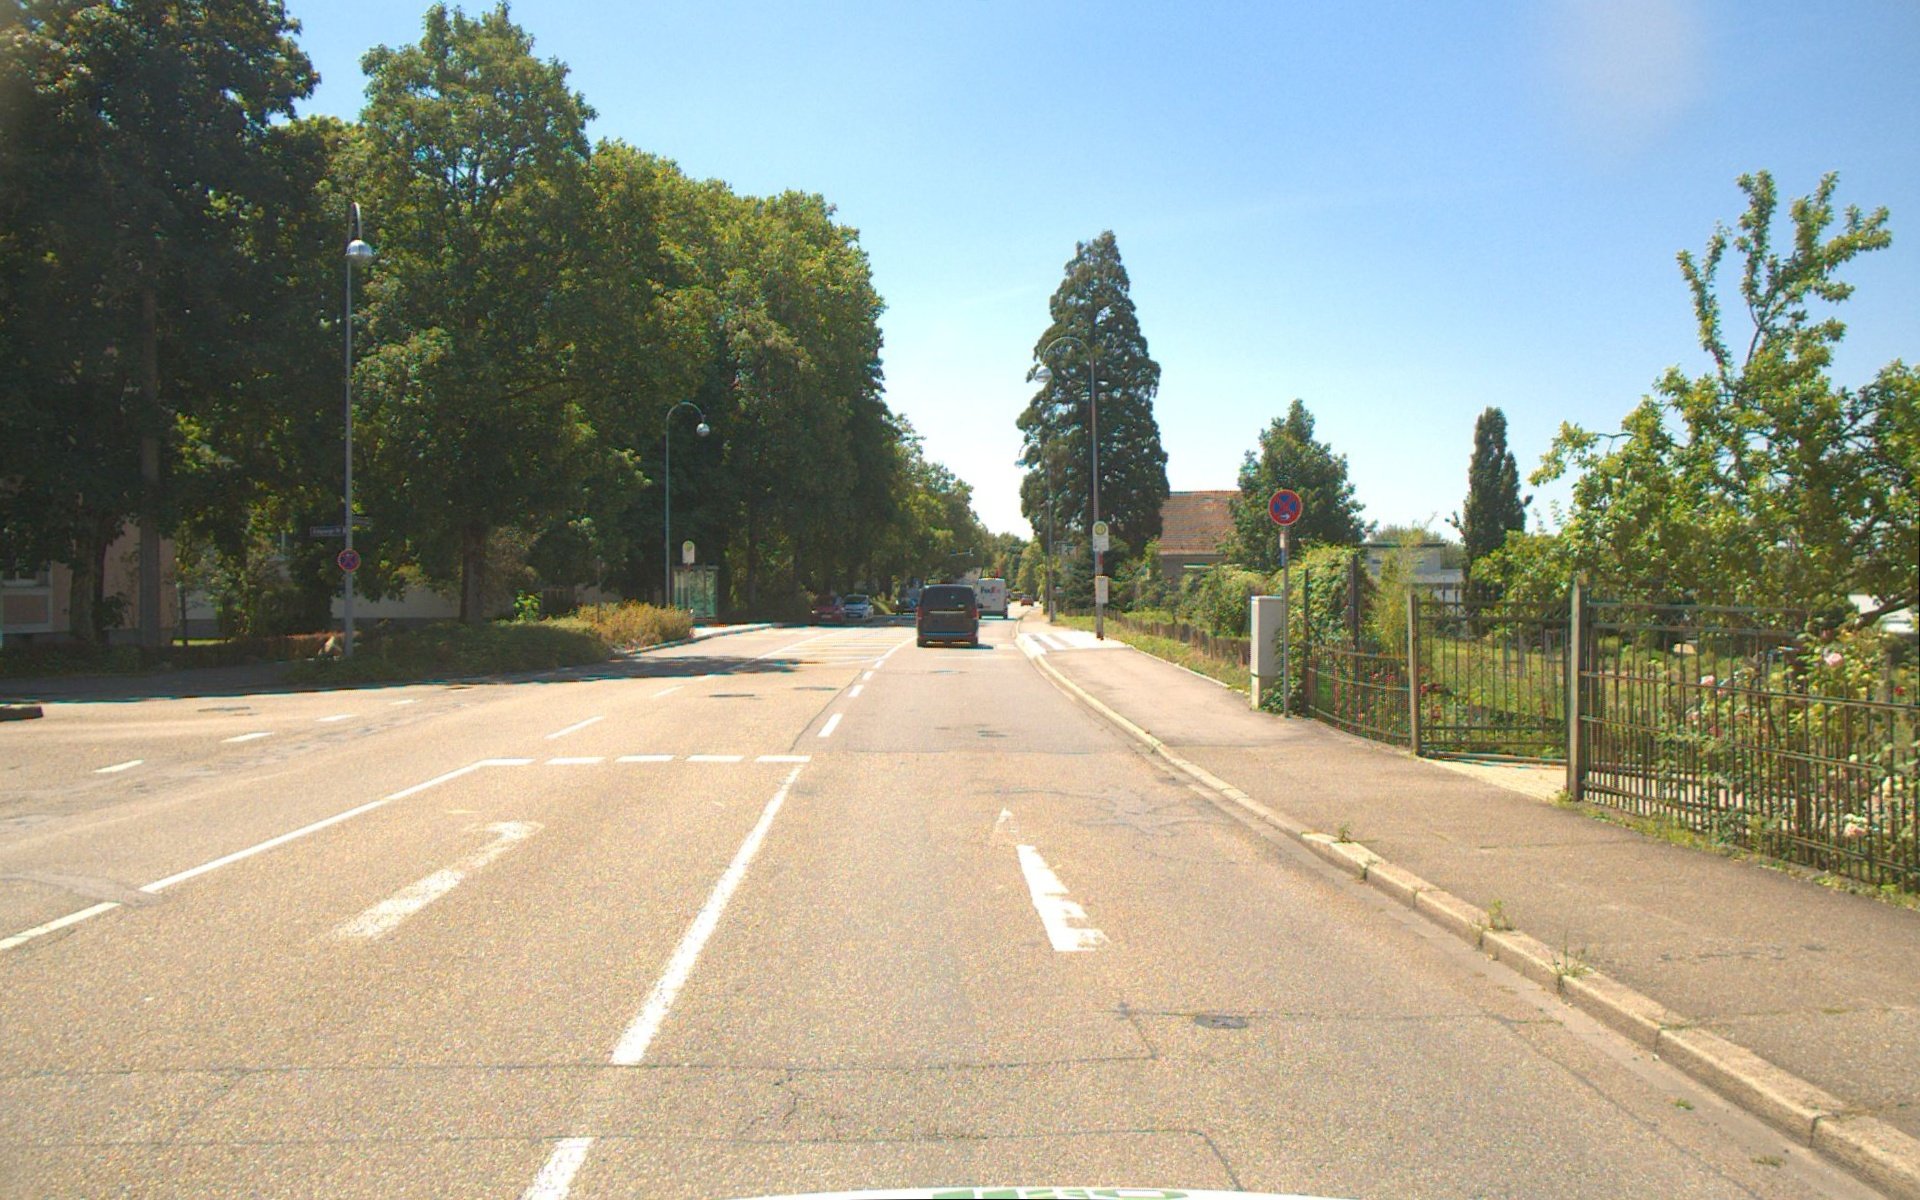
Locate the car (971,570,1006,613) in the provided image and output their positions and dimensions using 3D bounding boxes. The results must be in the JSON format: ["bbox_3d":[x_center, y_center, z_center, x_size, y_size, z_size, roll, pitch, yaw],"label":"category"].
[{"bbox_3d":[1.834,-0.616,108.428,2.077,2.724,5.661,1,1,-1],"label":"car"}]

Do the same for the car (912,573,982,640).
[{"bbox_3d":[-0.450,0.147,50.170,1.954,1.926,3.998,1,1,-3],"label":"car"}]

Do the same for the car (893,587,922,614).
[{"bbox_3d":[-3.986,0.003,124.414,1.954,1.943,4.987,0,1,-4],"label":"car"}]

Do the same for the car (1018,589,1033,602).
[{"bbox_3d":[9.058,-0.579,227.354,1.820,1.671,4.000,1,1,-1],"label":"car"}]

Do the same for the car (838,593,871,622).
[{"bbox_3d":[-5.678,0.397,88.963,1.658,1.485,3.636,1,1,-5],"label":"car"}]

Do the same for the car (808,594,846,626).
[{"bbox_3d":[-6.377,0.469,79.700,1.518,1.476,3.691,1,0,0],"label":"car"}]
